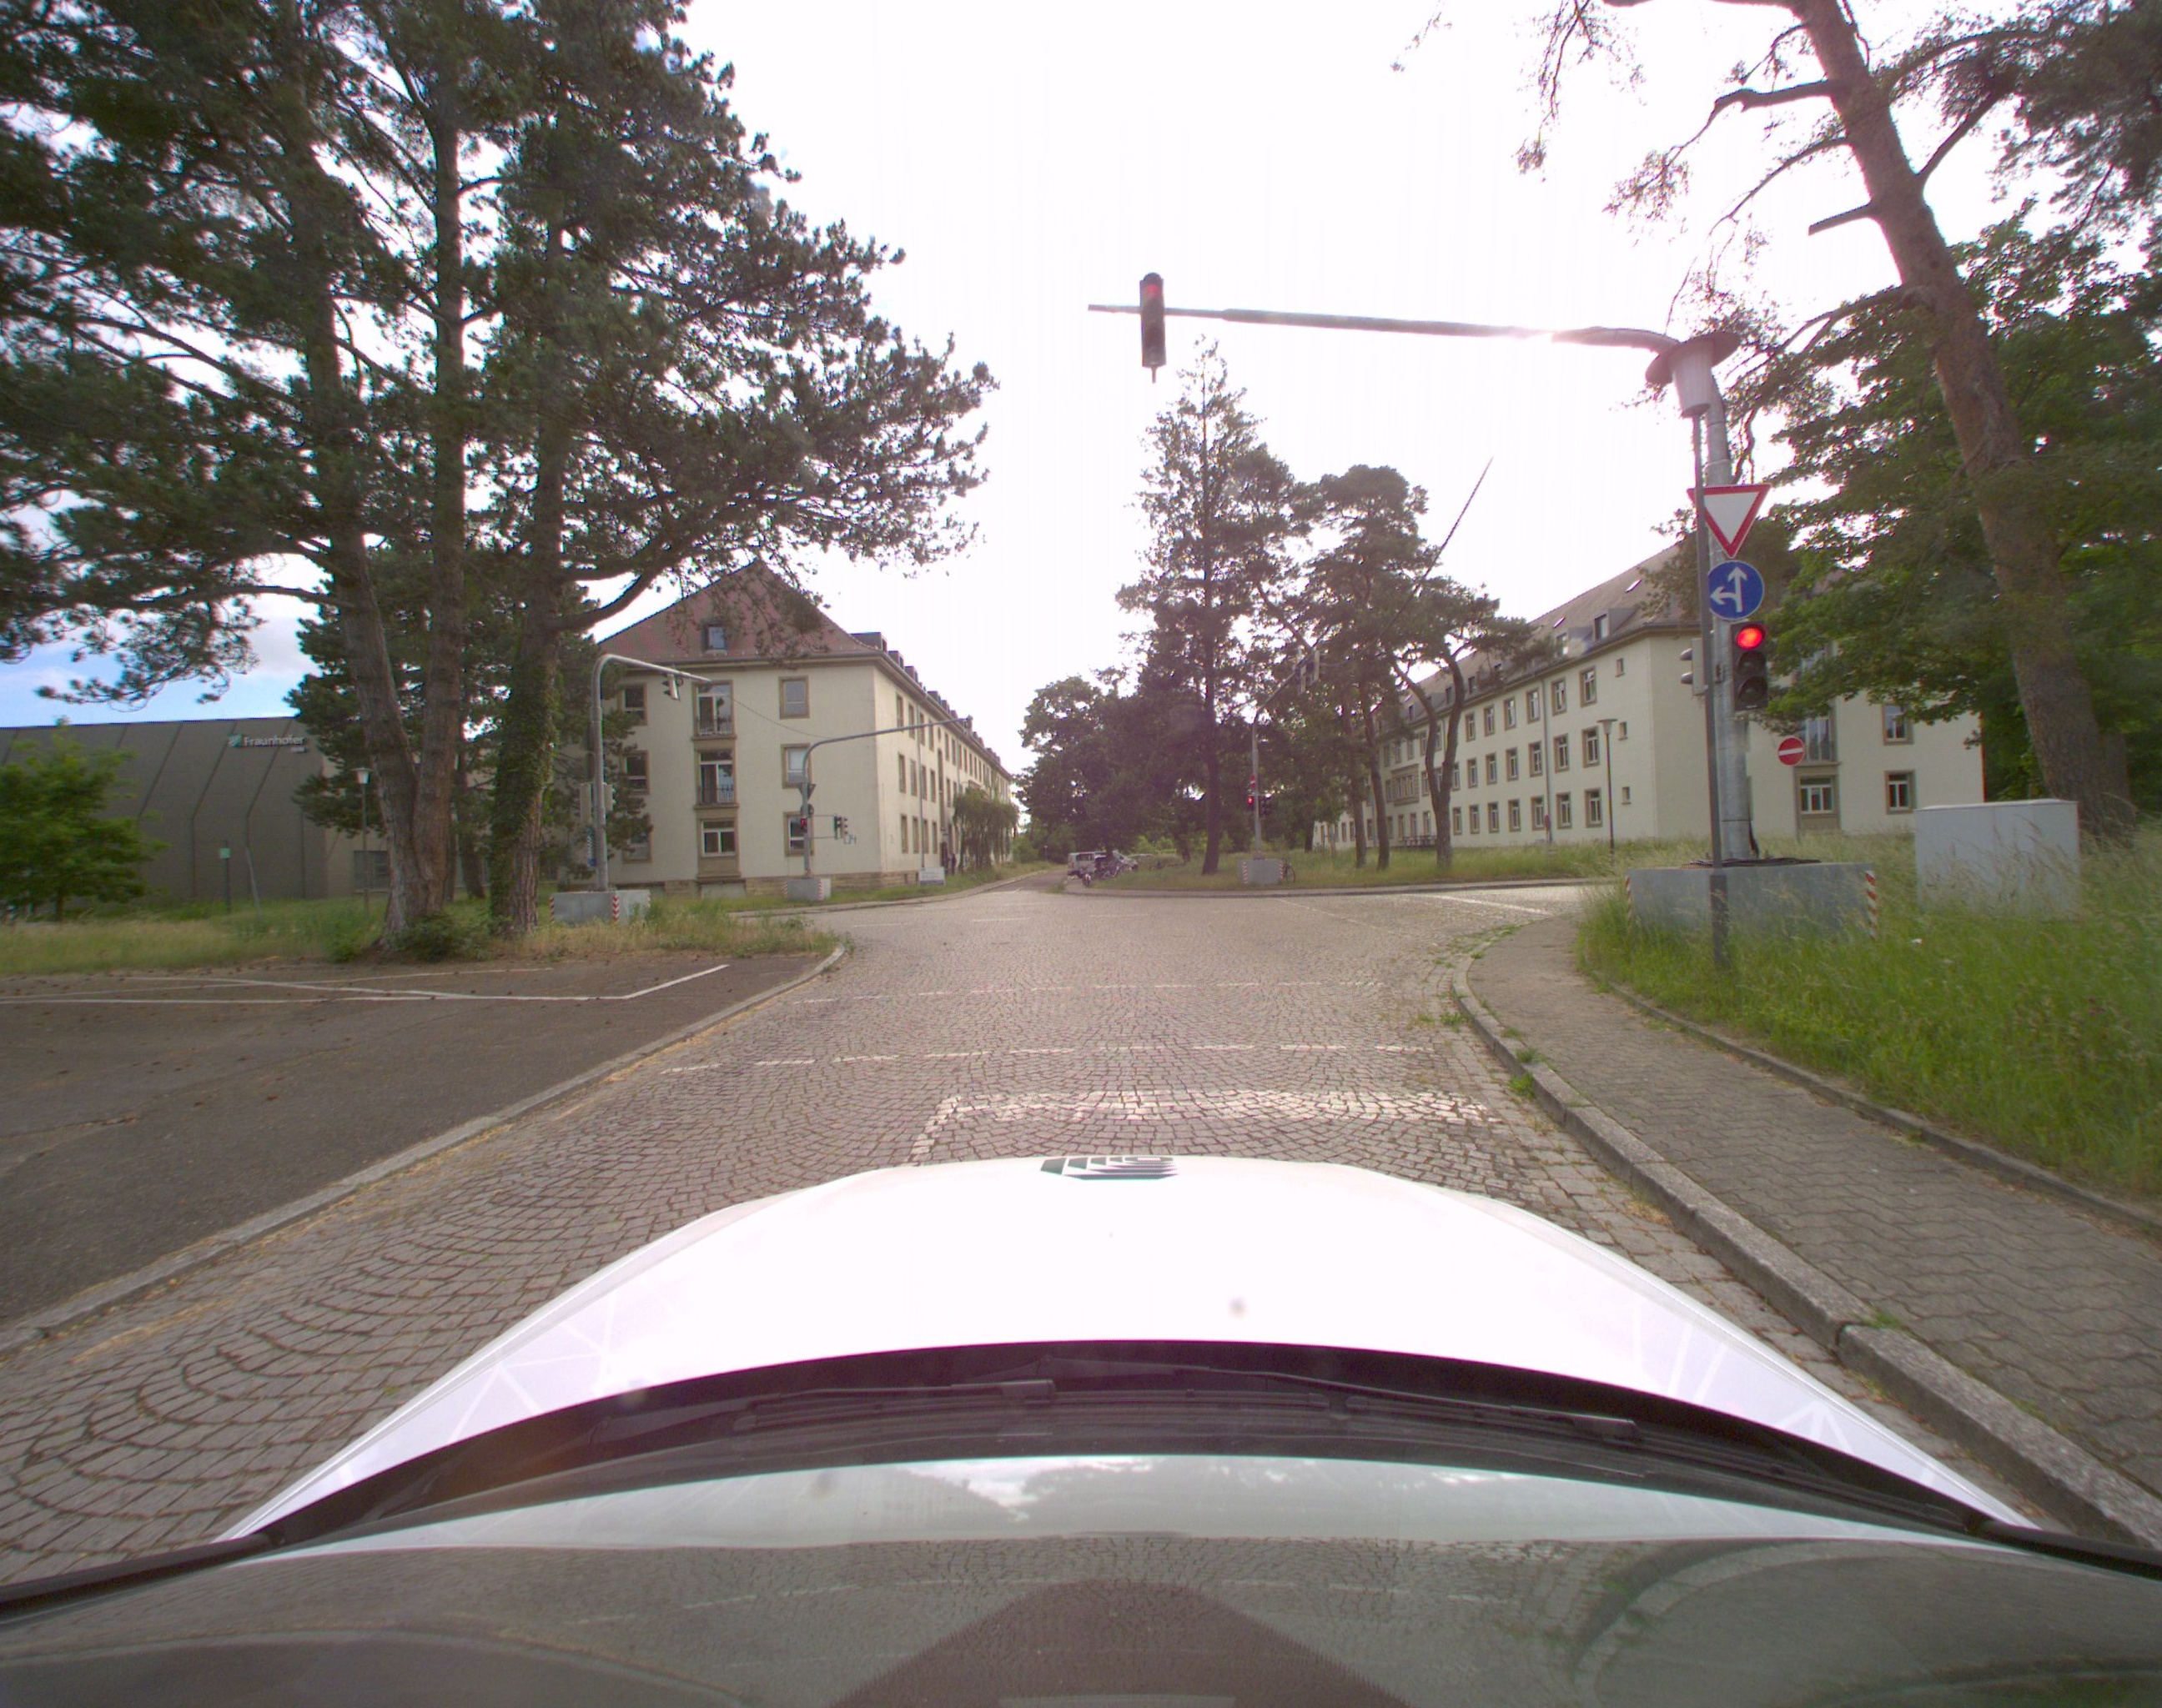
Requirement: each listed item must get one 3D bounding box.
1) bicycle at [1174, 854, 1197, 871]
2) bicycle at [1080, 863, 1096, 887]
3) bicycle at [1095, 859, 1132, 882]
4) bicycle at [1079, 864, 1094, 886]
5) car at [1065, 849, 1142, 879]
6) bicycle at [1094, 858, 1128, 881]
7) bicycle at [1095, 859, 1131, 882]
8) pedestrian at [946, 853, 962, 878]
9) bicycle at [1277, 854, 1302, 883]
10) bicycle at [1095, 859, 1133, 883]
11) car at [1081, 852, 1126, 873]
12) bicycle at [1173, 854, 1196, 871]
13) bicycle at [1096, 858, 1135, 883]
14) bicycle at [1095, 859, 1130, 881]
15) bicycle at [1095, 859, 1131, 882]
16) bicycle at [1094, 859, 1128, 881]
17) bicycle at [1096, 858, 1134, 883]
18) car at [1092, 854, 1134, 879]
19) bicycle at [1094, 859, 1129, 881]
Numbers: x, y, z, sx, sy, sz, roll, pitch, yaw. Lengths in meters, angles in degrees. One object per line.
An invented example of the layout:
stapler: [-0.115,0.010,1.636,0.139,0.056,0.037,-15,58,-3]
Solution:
bicycle: [7.228,0.569,56.341,1.543,1.124,0.401,-2,-1,2]
bicycle: [0.333,1.019,39.448,0.619,1.113,1.991,-1,-1,4]
bicycle: [1.799,0.904,45.229,1.976,1.248,0.624,-1,-1,-1]
bicycle: [0.281,1.054,41.403,0.619,1.082,1.680,-1,-1,5]
car: [1.652,0.756,60.921,5.312,1.916,2.140,-3,0,-14]
bicycle: [1.793,0.939,49.133,1.977,1.248,0.624,-4,-1,-1]
bicycle: [1.810,0.909,45.862,1.976,1.248,0.624,-1,-1,-1]
pedestrian: [-9.162,0.833,58.814,0.833,1.781,0.943,-2,0,6]
bicycle: [7.758,0.514,30.348,0.578,0.970,1.680,-4,1,5]
bicycle: [1.793,0.896,44.370,1.976,1.248,0.624,-1,-1,-1]
car: [2.015,0.793,74.808,4.019,1.718,1.680,-3,-1,-1]
bicycle: [7.315,0.575,57.571,1.543,1.124,0.401,-2,-1,2]
bicycle: [1.796,0.883,42.814,1.976,1.248,0.624,-1,-1,-1]
bicycle: [1.820,0.923,47.466,1.976,1.248,0.624,-1,-1,-1]
bicycle: [1.829,0.913,46.388,1.976,1.248,0.624,-1,-1,-1]
bicycle: [1.789,0.933,48.473,1.976,1.248,0.624,-1,-1,-1]
bicycle: [1.801,0.888,43.443,1.976,1.248,0.624,-1,-1,-1]
car: [2.230,0.839,57.439,2.838,1.558,1.472,-3,1,0]
bicycle: [1.801,0.928,47.979,1.976,1.248,0.624,-1,-1,-1]
